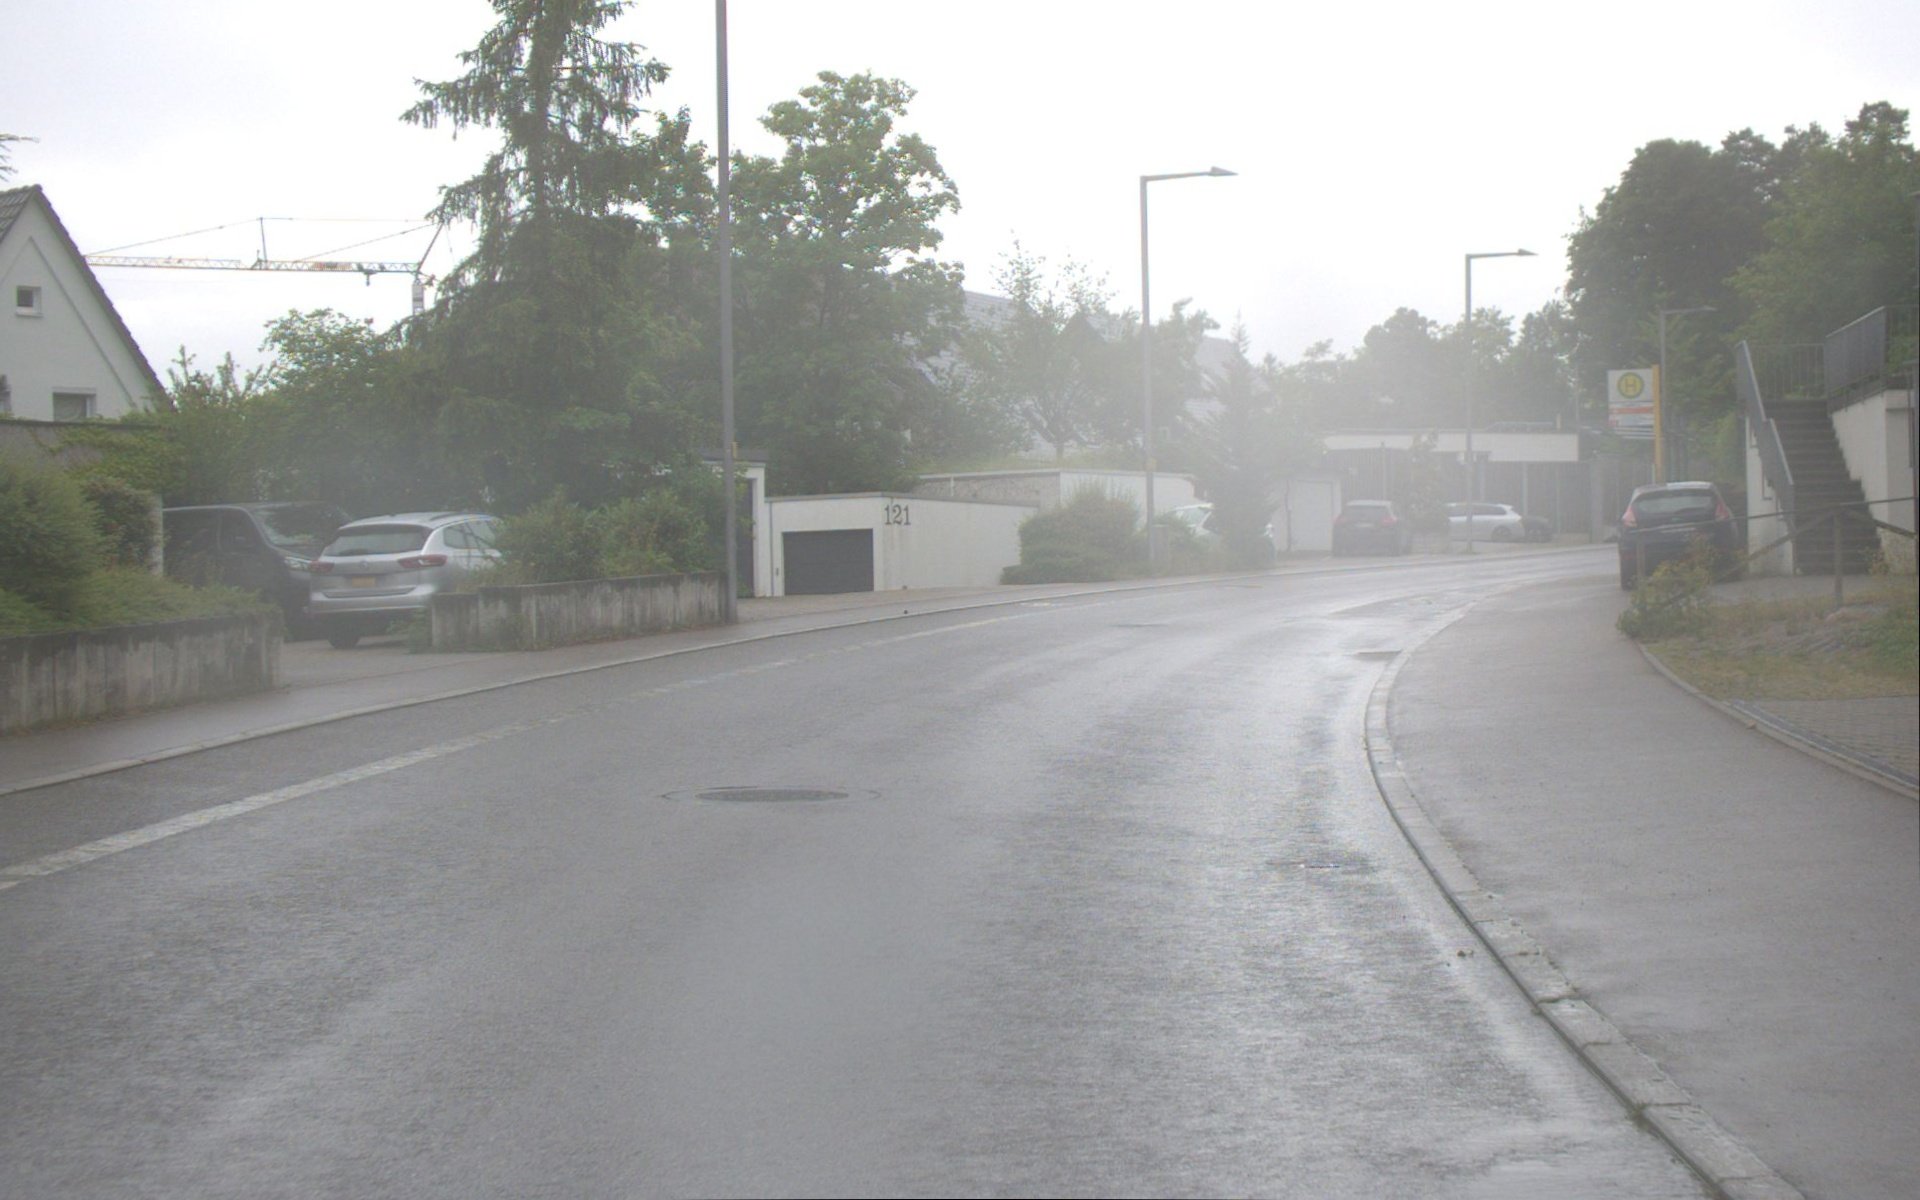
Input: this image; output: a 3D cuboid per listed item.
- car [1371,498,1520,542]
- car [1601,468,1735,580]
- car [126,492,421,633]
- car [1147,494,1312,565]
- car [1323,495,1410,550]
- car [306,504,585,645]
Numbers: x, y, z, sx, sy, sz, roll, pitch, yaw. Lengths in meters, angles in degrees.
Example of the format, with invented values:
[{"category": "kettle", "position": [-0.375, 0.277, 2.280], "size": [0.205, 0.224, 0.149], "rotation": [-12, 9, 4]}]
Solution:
[{"category": "car", "position": [15.971, -2.637, 113.097], "size": [4.517, 1.437, 1.762], "rotation": [0, 1, -16]}, {"category": "car", "position": [10.346, -1.116, 50.073], "size": [1.706, 1.449, 4.019], "rotation": [-4, 1, 13]}, {"category": "car", "position": [-9.451, -0.512, 47.218], "size": [3.997, 1.831, 1.995], "rotation": [0, 2, 44]}, {"category": "car", "position": [6.221, -1.638, 78.905], "size": [1.708, 1.548, 4.380], "rotation": [0, 2, 37]}, {"category": "car", "position": [10.866, -2.087, 91.725], "size": [1.835, 1.401, 4.258], "rotation": [0, 2, 13]}, {"category": "car", "position": [-5.964, -0.329, 40.319], "size": [1.736, 1.546, 3.997], "rotation": [-1, 1, 15]}]
